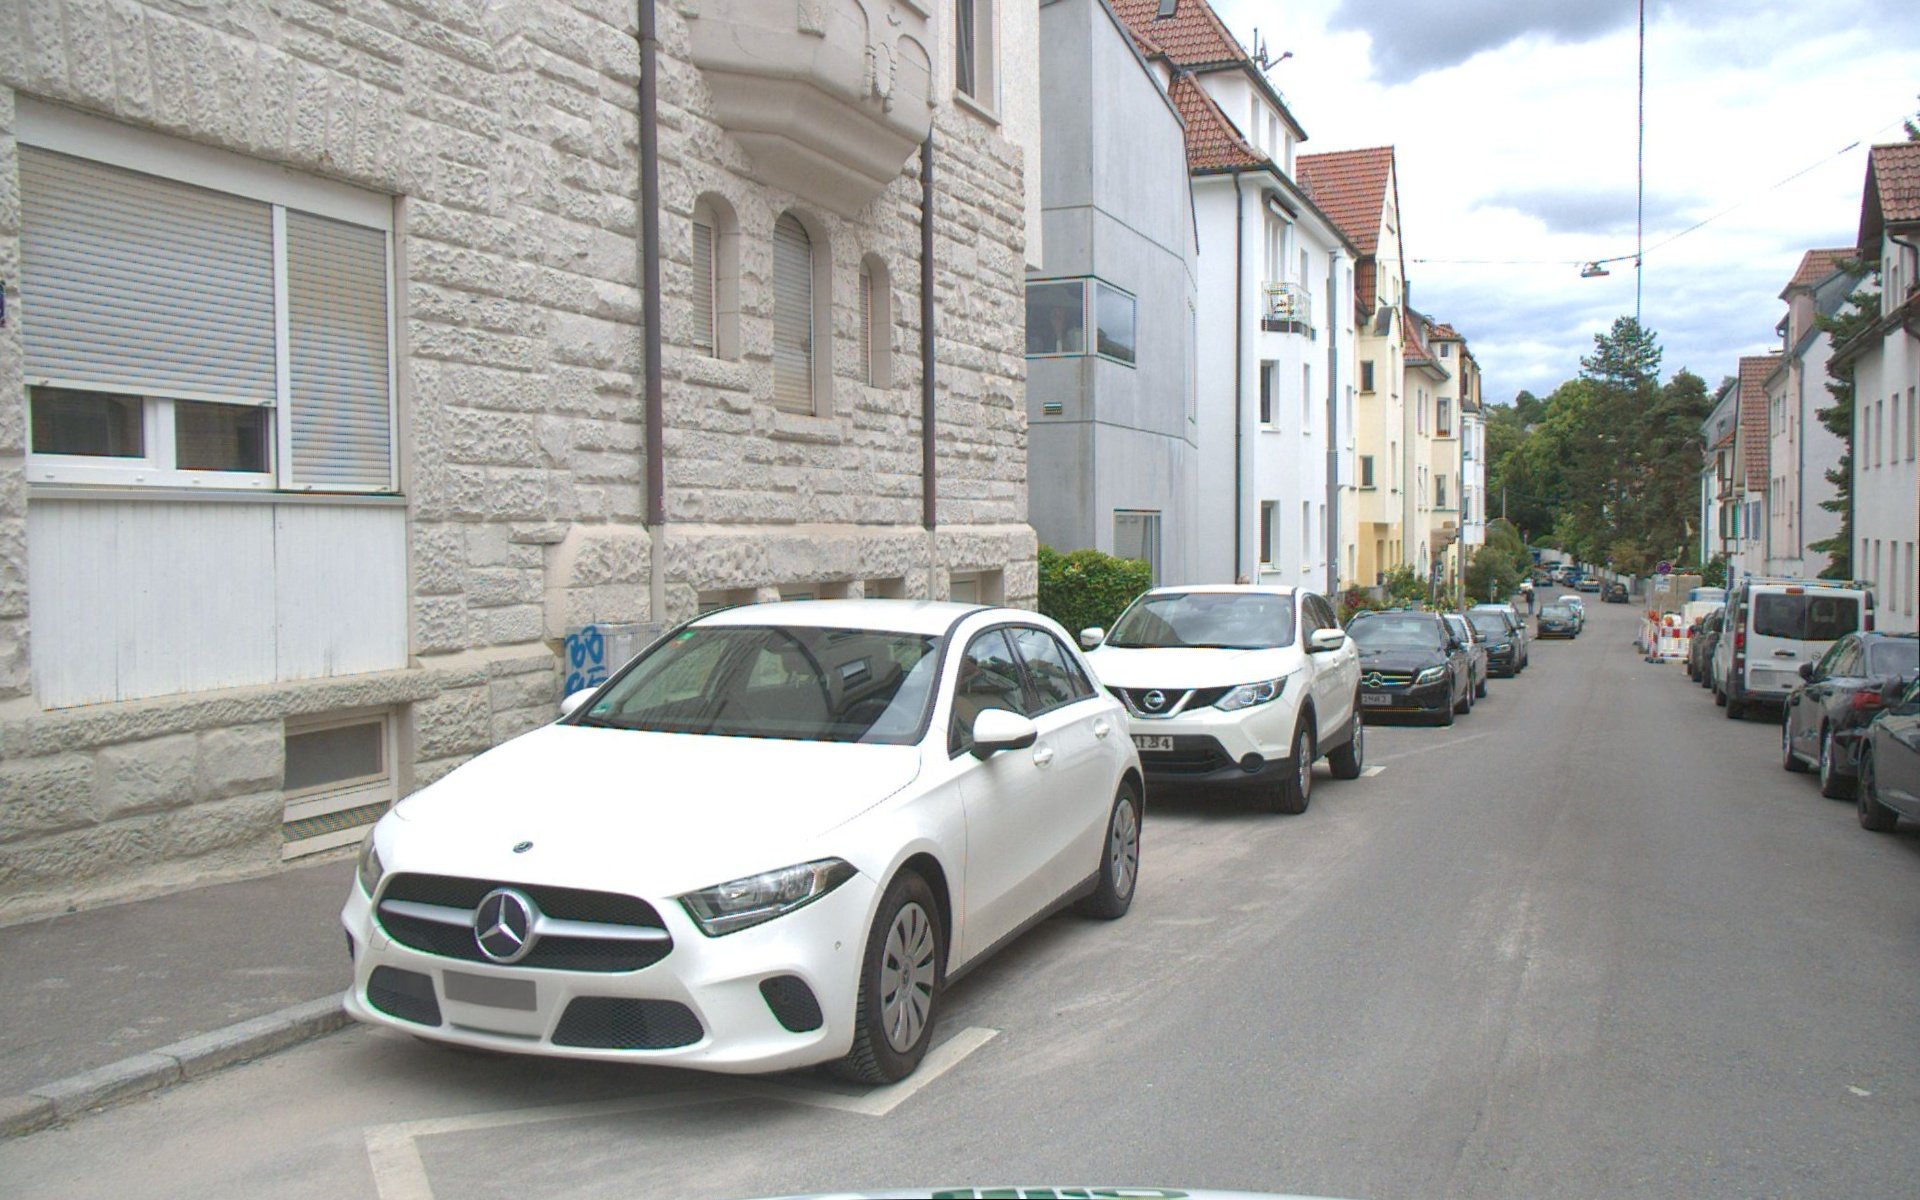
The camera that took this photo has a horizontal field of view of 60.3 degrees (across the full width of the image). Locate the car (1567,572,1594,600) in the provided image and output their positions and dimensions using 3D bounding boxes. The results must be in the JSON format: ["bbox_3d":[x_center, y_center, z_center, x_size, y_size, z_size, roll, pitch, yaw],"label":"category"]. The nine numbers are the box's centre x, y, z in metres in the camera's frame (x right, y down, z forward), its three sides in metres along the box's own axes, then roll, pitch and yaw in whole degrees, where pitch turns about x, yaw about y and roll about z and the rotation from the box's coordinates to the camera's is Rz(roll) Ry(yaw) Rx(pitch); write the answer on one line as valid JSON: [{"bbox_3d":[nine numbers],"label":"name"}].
[{"bbox_3d":[41.307,-0.939,110.032,1.638,1.685,3.865,0,3,21],"label":"car"}]

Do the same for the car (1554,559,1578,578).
[{"bbox_3d":[55.258,-2.856,150.960,1.599,1.509,3.535,2,5,13],"label":"car"}]

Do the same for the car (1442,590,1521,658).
[{"bbox_3d":[13.686,0.580,43.276,1.806,1.659,4.287,0,1,20],"label":"car"}]

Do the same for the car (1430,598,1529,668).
[{"bbox_3d":[11.881,0.709,37.652,1.807,1.483,4.504,0,0,22],"label":"car"}]

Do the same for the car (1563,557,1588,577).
[{"bbox_3d":[54.438,-2.953,146.383,1.599,1.509,3.535,2,5,13],"label":"car"}]

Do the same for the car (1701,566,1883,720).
[{"bbox_3d":[12.834,0.557,25.839,1.866,2.065,5.734,2,1,21],"label":"car"}]

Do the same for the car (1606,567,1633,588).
[{"bbox_3d":[53.487,-1.834,134.179,1.599,1.509,3.534,2,5,14],"label":"car"}]

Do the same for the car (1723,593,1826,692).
[{"bbox_3d":[14.770,0.727,30.092,1.457,1.624,2.790,2,1,23],"label":"car"}]

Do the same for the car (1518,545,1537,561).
[{"bbox_3d":[60.808,-5.067,177.243,1.599,1.563,3.535,2,5,13],"label":"car"}]

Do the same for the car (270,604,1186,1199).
[{"bbox_3d":[-0.411,0.768,6.288,1.664,1.438,4.241,0,1,20],"label":"car"}]

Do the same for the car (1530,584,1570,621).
[{"bbox_3d":[29.858,0.120,83.763,1.806,1.847,4.546,0,0,19],"label":"car"}]

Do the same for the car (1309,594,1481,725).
[{"bbox_3d":[5.994,0.711,22.437,1.856,1.554,4.472,0,1,20],"label":"car"}]

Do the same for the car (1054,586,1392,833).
[{"bbox_3d":[2.199,0.675,12.764,1.807,1.542,4.241,0,1,20],"label":"car"}]

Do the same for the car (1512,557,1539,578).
[{"bbox_3d":[49.677,-2.856,145.304,1.636,1.685,3.868,-1,3,9],"label":"car"}]

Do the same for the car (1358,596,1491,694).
[{"bbox_3d":[7.961,0.684,28.062,1.806,1.437,5.063,0,1,20],"label":"car"}]

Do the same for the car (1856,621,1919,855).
[{"bbox_3d":[6.985,0.931,10.263,1.814,1.428,3.968,2,1,19],"label":"car"}]

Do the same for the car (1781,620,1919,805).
[{"bbox_3d":[8.731,0.937,14.985,1.814,1.428,4.575,2,0,21],"label":"car"}]

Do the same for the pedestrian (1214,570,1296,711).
[{"bbox_3d":[4.118,0.546,23.079,0.805,1.917,0.841,0,0,45],"label":"pedestrian"}]
